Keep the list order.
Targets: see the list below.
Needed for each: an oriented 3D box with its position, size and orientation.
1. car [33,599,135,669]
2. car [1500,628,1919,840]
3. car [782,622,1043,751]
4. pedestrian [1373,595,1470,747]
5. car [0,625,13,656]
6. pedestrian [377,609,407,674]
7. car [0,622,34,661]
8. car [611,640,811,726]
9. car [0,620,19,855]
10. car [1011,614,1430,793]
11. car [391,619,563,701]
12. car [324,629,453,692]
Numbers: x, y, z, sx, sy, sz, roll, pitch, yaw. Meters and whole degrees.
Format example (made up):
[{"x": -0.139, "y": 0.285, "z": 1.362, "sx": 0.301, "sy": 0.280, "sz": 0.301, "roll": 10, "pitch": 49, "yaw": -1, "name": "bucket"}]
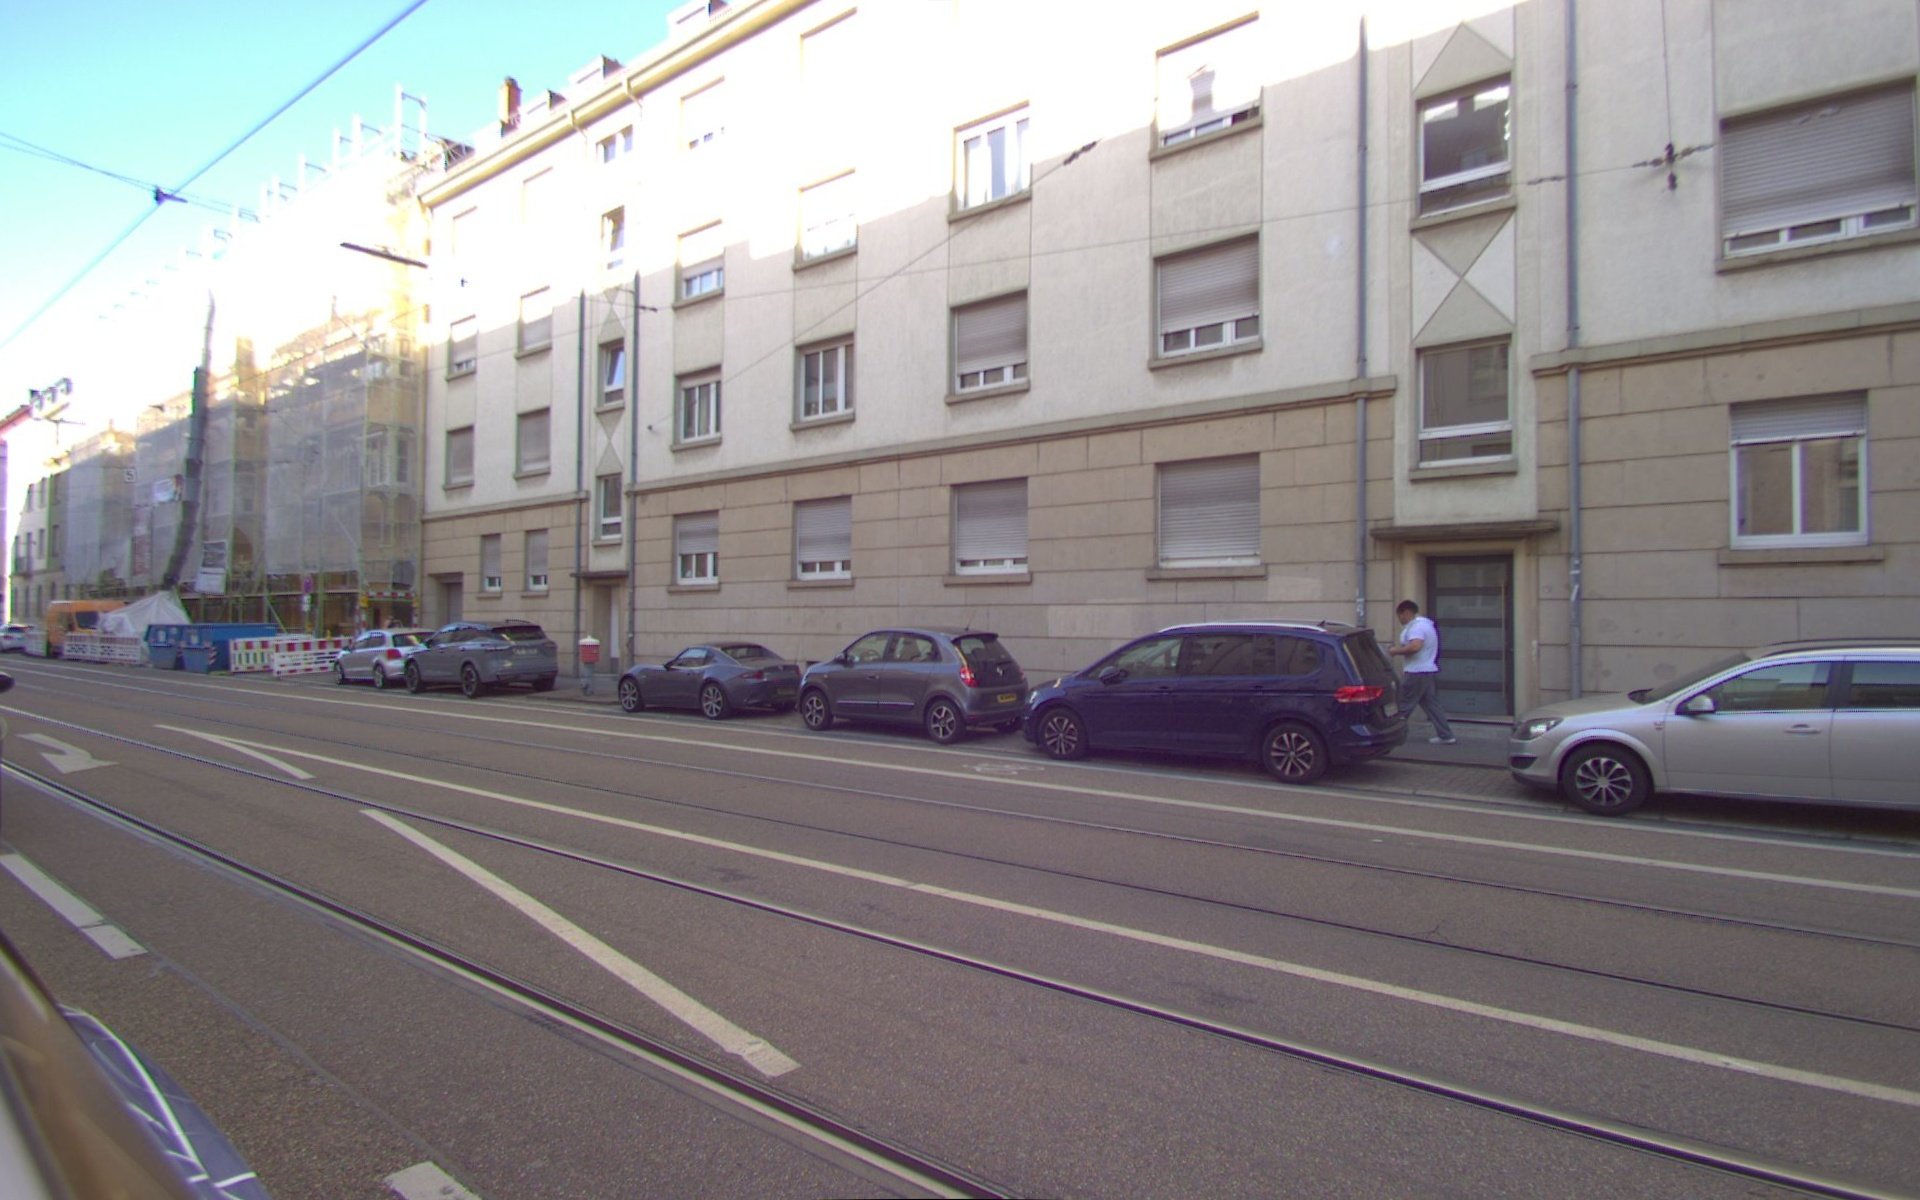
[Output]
[{"x": -36.445, "y": 1.345, "z": 42.030, "sx": 5.866, "sy": 2.717, "sz": 2.188, "roll": -1, "pitch": 0, "yaw": 39, "name": "car"}, {"x": 7.095, "y": 1.015, "z": 8.445, "sx": 4.363, "sy": 1.465, "sz": 1.709, "roll": -1, "pitch": 1, "yaw": 37, "name": "car"}, {"x": -0.753, "y": 1.148, "z": 14.696, "sx": 3.591, "sy": 1.570, "sz": 1.624, "roll": -1, "pitch": 1, "yaw": 38, "name": "car"}, {"x": 5.646, "y": 0.833, "z": 12.386, "sx": 1.002, "sy": 1.781, "sz": 0.657, "roll": -1, "pitch": 0, "yaw": 31, "name": "pedestrian"}, {"x": -54.780, "y": 2.296, "z": 57.035, "sx": 3.932, "sy": 1.696, "sz": 1.550, "roll": -1, "pitch": 0, "yaw": 39, "name": "car"}, {"x": -16.842, "y": 1.223, "z": 30.013, "sx": 0.762, "sy": 1.886, "sz": 0.513, "roll": -1, "pitch": 0, "yaw": 38, "name": "pedestrian"}, {"x": -50.059, "y": 2.158, "z": 53.383, "sx": 1.635, "sy": 1.937, "sz": 3.767, "roll": -1, "pitch": 0, "yaw": -44, "name": "car"}, {"x": -4.342, "y": 1.361, "z": 17.465, "sx": 3.518, "sy": 1.229, "sz": 1.458, "roll": -1, "pitch": 1, "yaw": 37, "name": "car"}, {"x": -7.840, "y": 0.884, "z": 6.842, "sx": 3.814, "sy": 1.436, "sz": 1.705, "roll": -2, "pitch": -3, "yaw": 40, "name": "car"}, {"x": 2.880, "y": 1.011, "z": 11.653, "sx": 4.318, "sy": 1.645, "sz": 1.798, "roll": -1, "pitch": 1, "yaw": 37, "name": "car"}, {"x": -10.874, "y": 1.268, "z": 22.691, "sx": 4.152, "sy": 1.621, "sz": 1.731, "roll": -1, "pitch": 1, "yaw": 37, "name": "car"}, {"x": -14.401, "y": 1.468, "z": 25.451, "sx": 3.502, "sy": 1.390, "sz": 1.546, "roll": -1, "pitch": 1, "yaw": 37, "name": "car"}]
